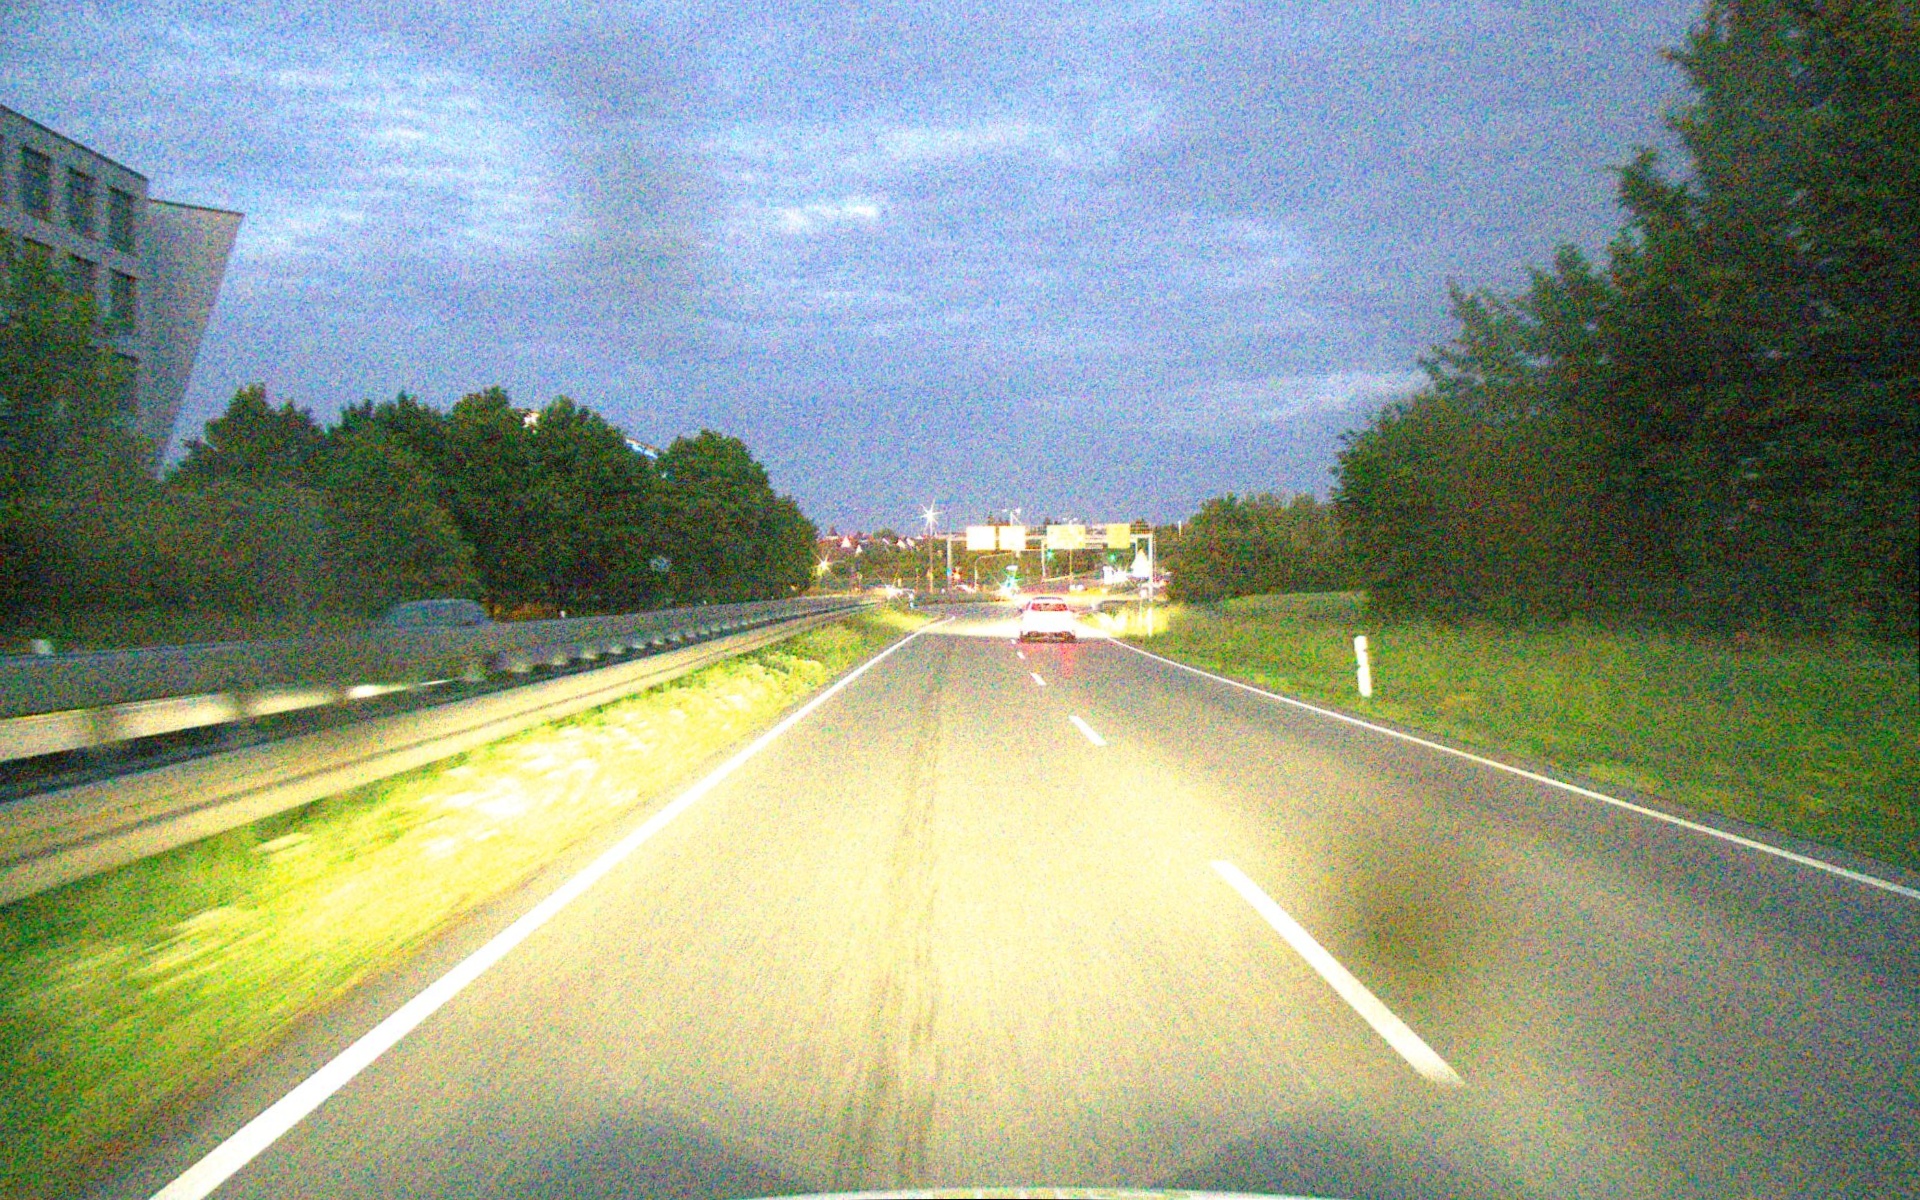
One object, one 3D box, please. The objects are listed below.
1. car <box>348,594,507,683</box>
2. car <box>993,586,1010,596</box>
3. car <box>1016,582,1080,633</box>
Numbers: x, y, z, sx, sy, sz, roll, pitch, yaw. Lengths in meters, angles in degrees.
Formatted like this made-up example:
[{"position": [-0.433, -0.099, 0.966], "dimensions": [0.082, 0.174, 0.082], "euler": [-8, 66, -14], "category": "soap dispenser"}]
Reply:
[{"position": [-10.098, 0.692, 31.672], "dimensions": [1.798, 1.494, 3.844], "euler": [-2, 1, -1], "category": "car"}, {"position": [6.439, -1.428, 254.695], "dimensions": [1.951, 1.450, 4.536], "euler": [1, 1, 11], "category": "car"}, {"position": [2.889, 0.239, 55.156], "dimensions": [1.966, 1.639, 3.845], "euler": [0, 0, 0], "category": "car"}]
